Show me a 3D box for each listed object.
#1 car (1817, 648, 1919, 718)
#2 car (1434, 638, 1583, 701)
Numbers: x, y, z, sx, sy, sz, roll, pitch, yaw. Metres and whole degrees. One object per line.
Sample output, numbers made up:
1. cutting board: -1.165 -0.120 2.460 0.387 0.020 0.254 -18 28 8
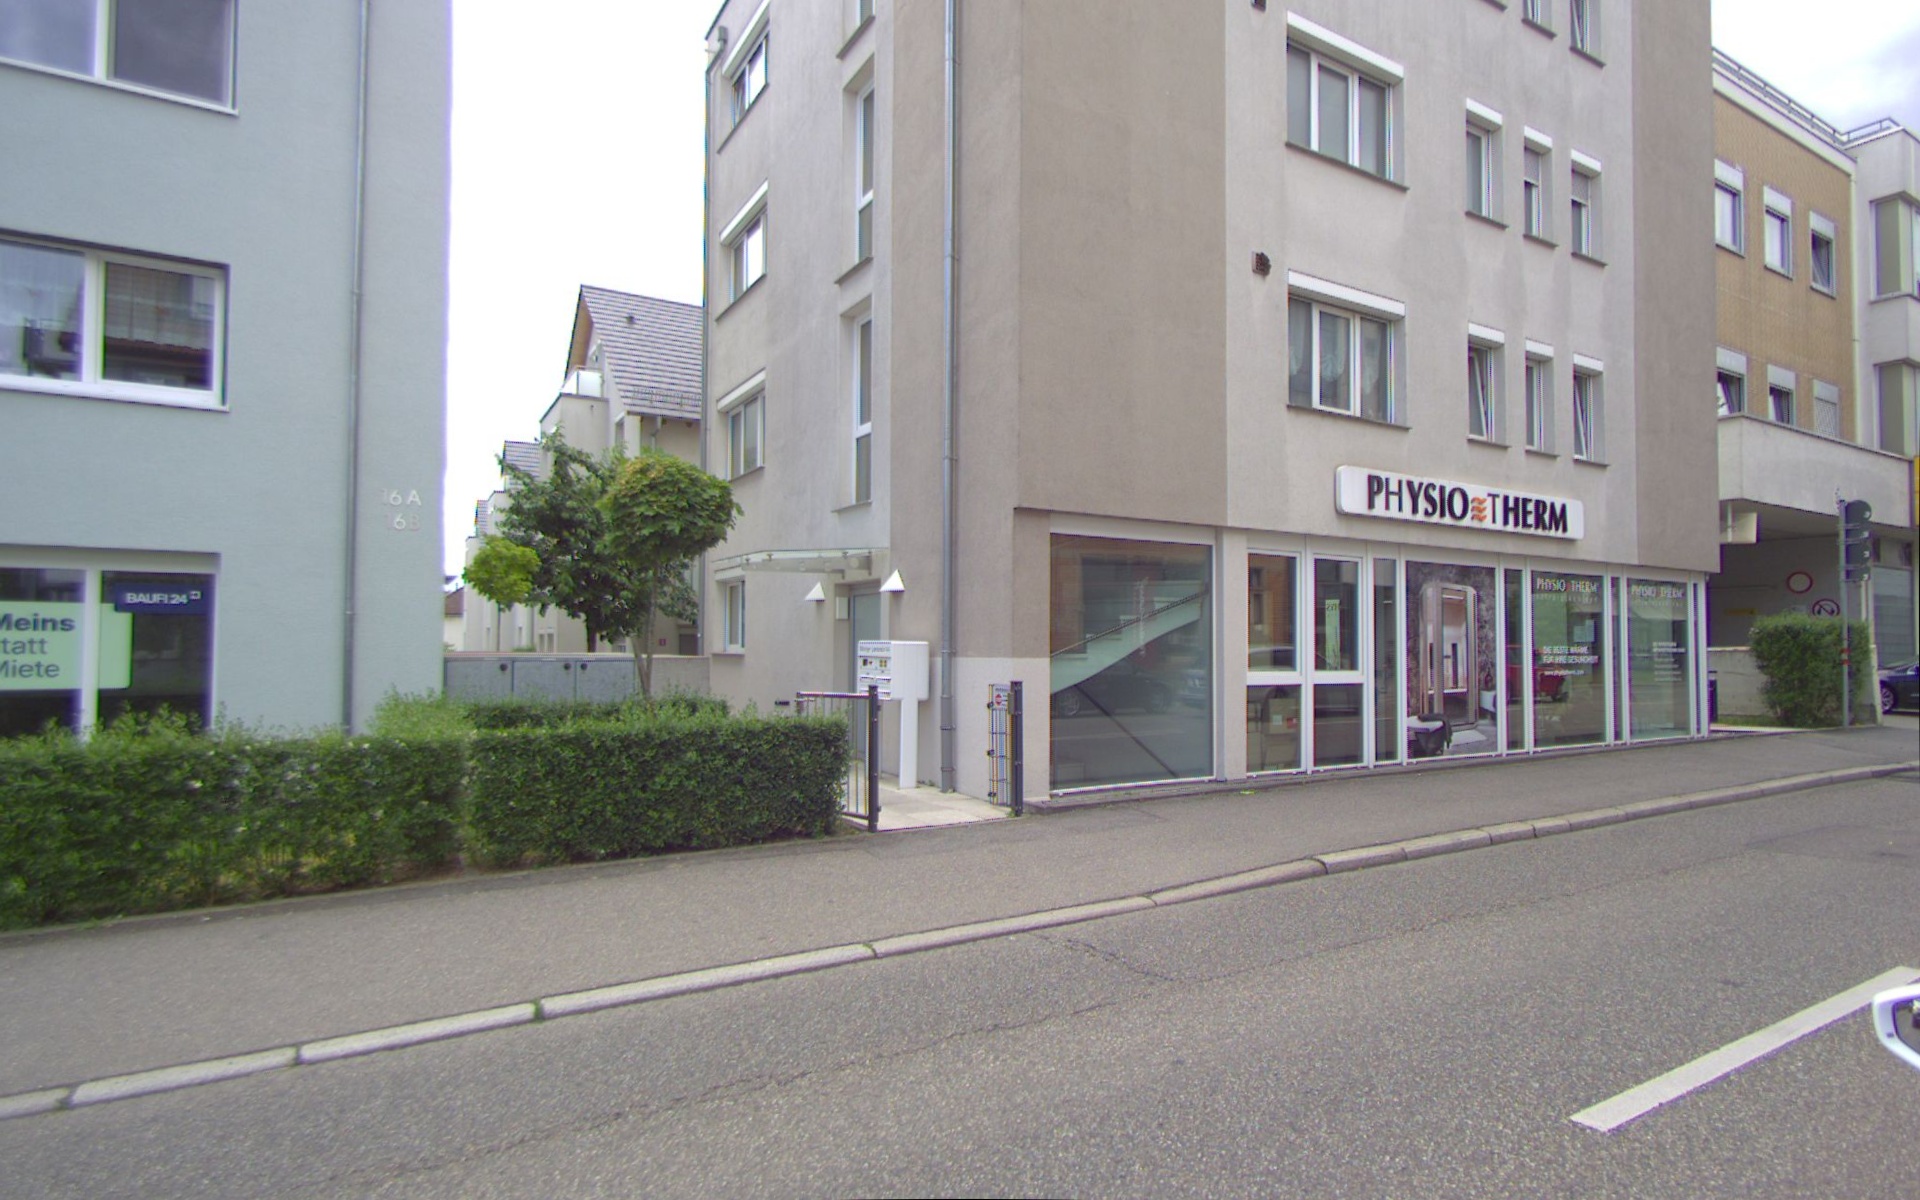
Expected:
1. car: 20.613 1.725 20.699 4.342 1.383 1.779 -1 -2 37
2. car: 14.115 1.754 25.822 3.648 1.476 1.745 2 -1 -30
